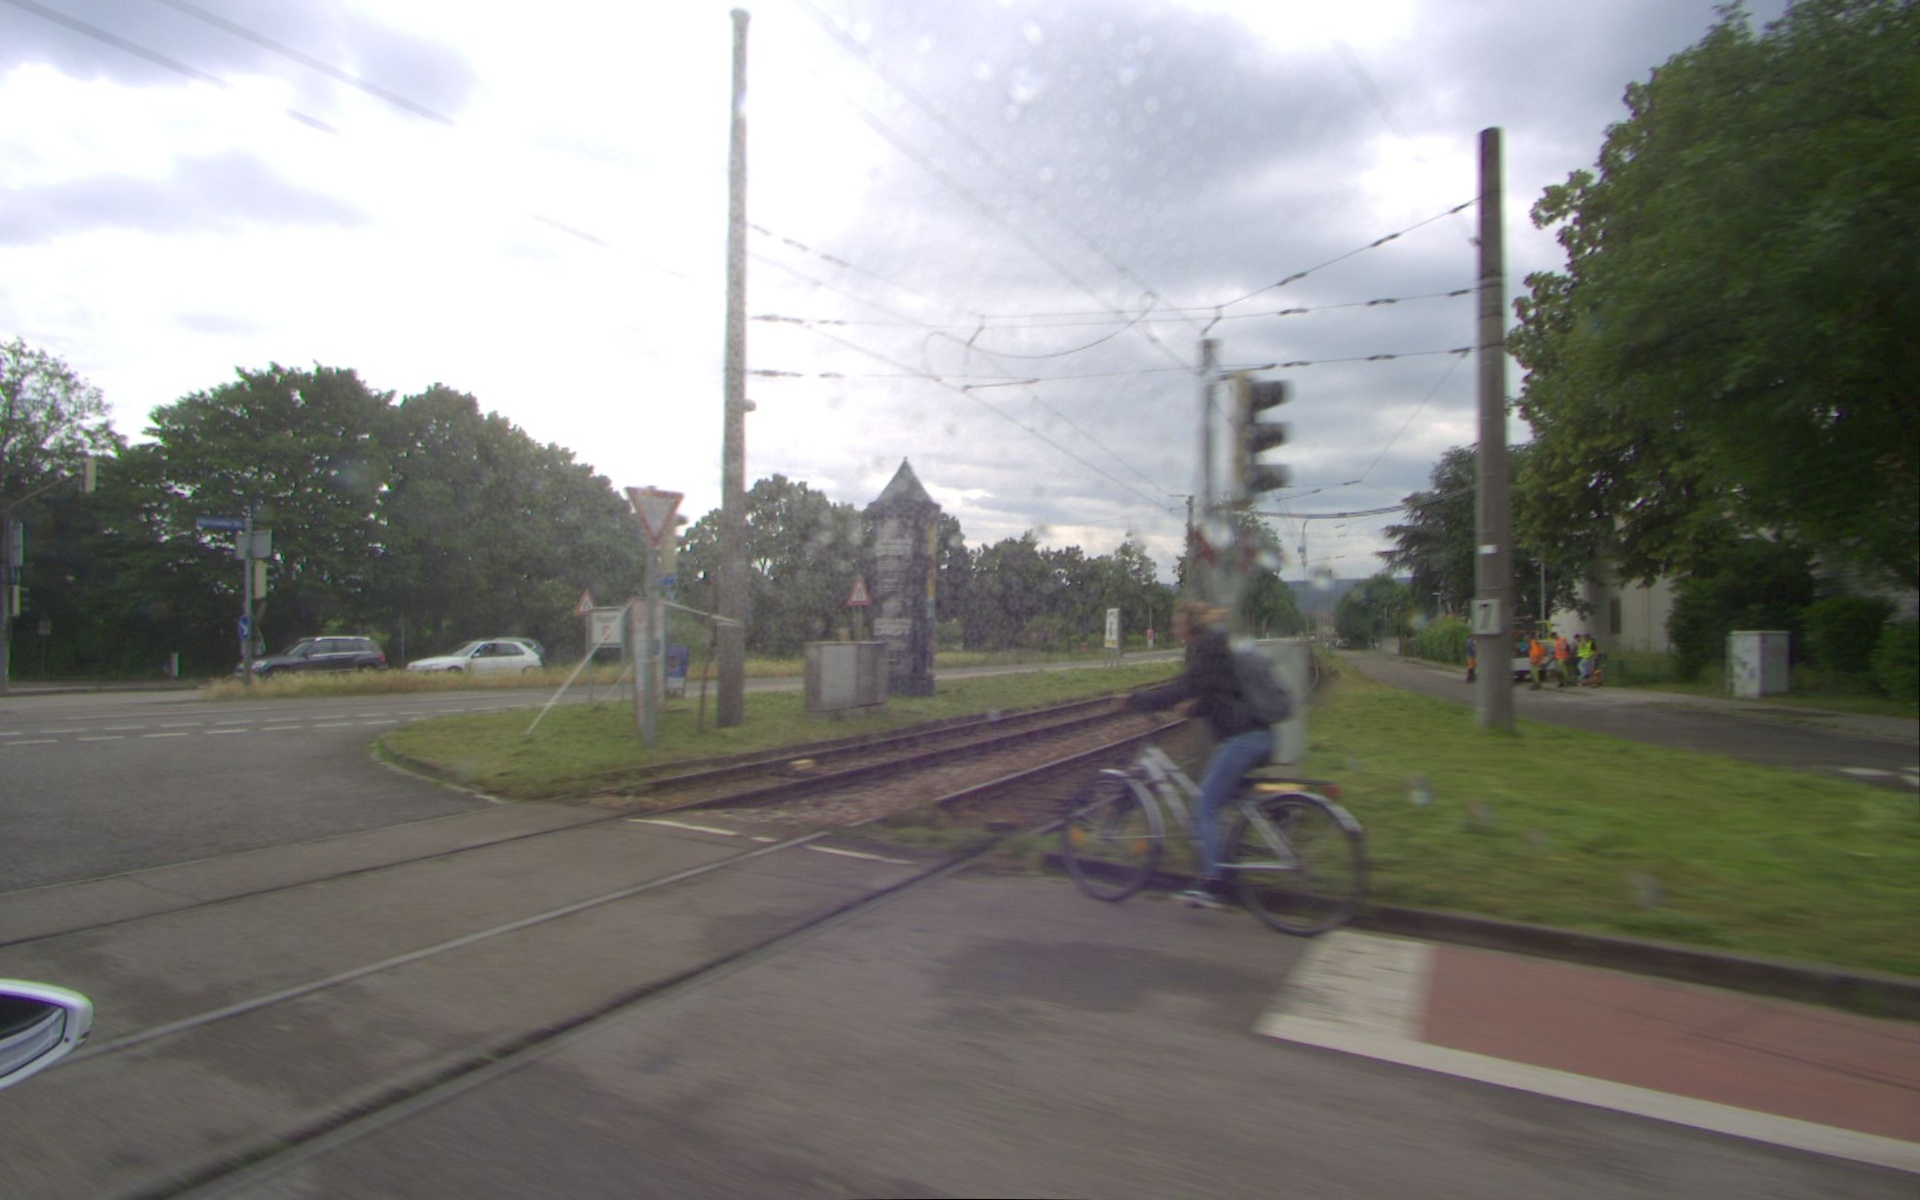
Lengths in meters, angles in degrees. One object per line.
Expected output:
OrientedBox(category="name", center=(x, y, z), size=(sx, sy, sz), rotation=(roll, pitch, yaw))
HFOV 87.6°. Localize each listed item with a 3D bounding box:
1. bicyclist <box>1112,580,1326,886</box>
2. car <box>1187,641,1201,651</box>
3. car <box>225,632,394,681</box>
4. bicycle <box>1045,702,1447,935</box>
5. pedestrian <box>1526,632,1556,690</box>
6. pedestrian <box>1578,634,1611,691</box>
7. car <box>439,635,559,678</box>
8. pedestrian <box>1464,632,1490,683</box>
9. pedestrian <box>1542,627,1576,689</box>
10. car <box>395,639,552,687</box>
OrientedBox(category="bicyclist", center=(1.367, 0.664, 5.248), size=(0.947, 1.441, 0.621), rotation=(-1, -6, 31))
OrientedBox(category="car", center=(39.210, 7.721, 167.773), size=(1.634, 1.549, 3.880), rotation=(-1, -2, 25))
OrientedBox(category="car", center=(-21.899, 1.878, 33.902), size=(1.819, 1.523, 4.458), rotation=(-1, -2, 32))
OrientedBox(category="bicycle", center=(1.431, 1.069, 5.270), size=(2.000, 0.993, 0.382), rotation=(-2, -2, 31))
OrientedBox(category="pedestrian", center=(18.116, 1.895, 31.237), size=(0.624, 1.785, 0.576), rotation=(0, -1, 11))
OrientedBox(category="pedestrian", center=(21.266, 2.082, 33.550), size=(0.598, 1.863, 0.712), rotation=(1, -1, -14))
OrientedBox(category="car", center=(-18.152, 2.195, 39.613), size=(1.851, 1.638, 3.983), rotation=(-1, -2, 30))
OrientedBox(category="pedestrian", center=(19.140, 2.124, 37.068), size=(0.757, 1.892, 0.604), rotation=(0, -1, 16))
OrientedBox(category="pedestrian", center=(18.549, 1.796, 31.006), size=(0.861, 1.878, 0.677), rotation=(0, -1, 33))
OrientedBox(category="car", center=(-14.929, 1.889, 30.951), size=(1.623, 1.374, 4.131), rotation=(-1, -2, 32))
